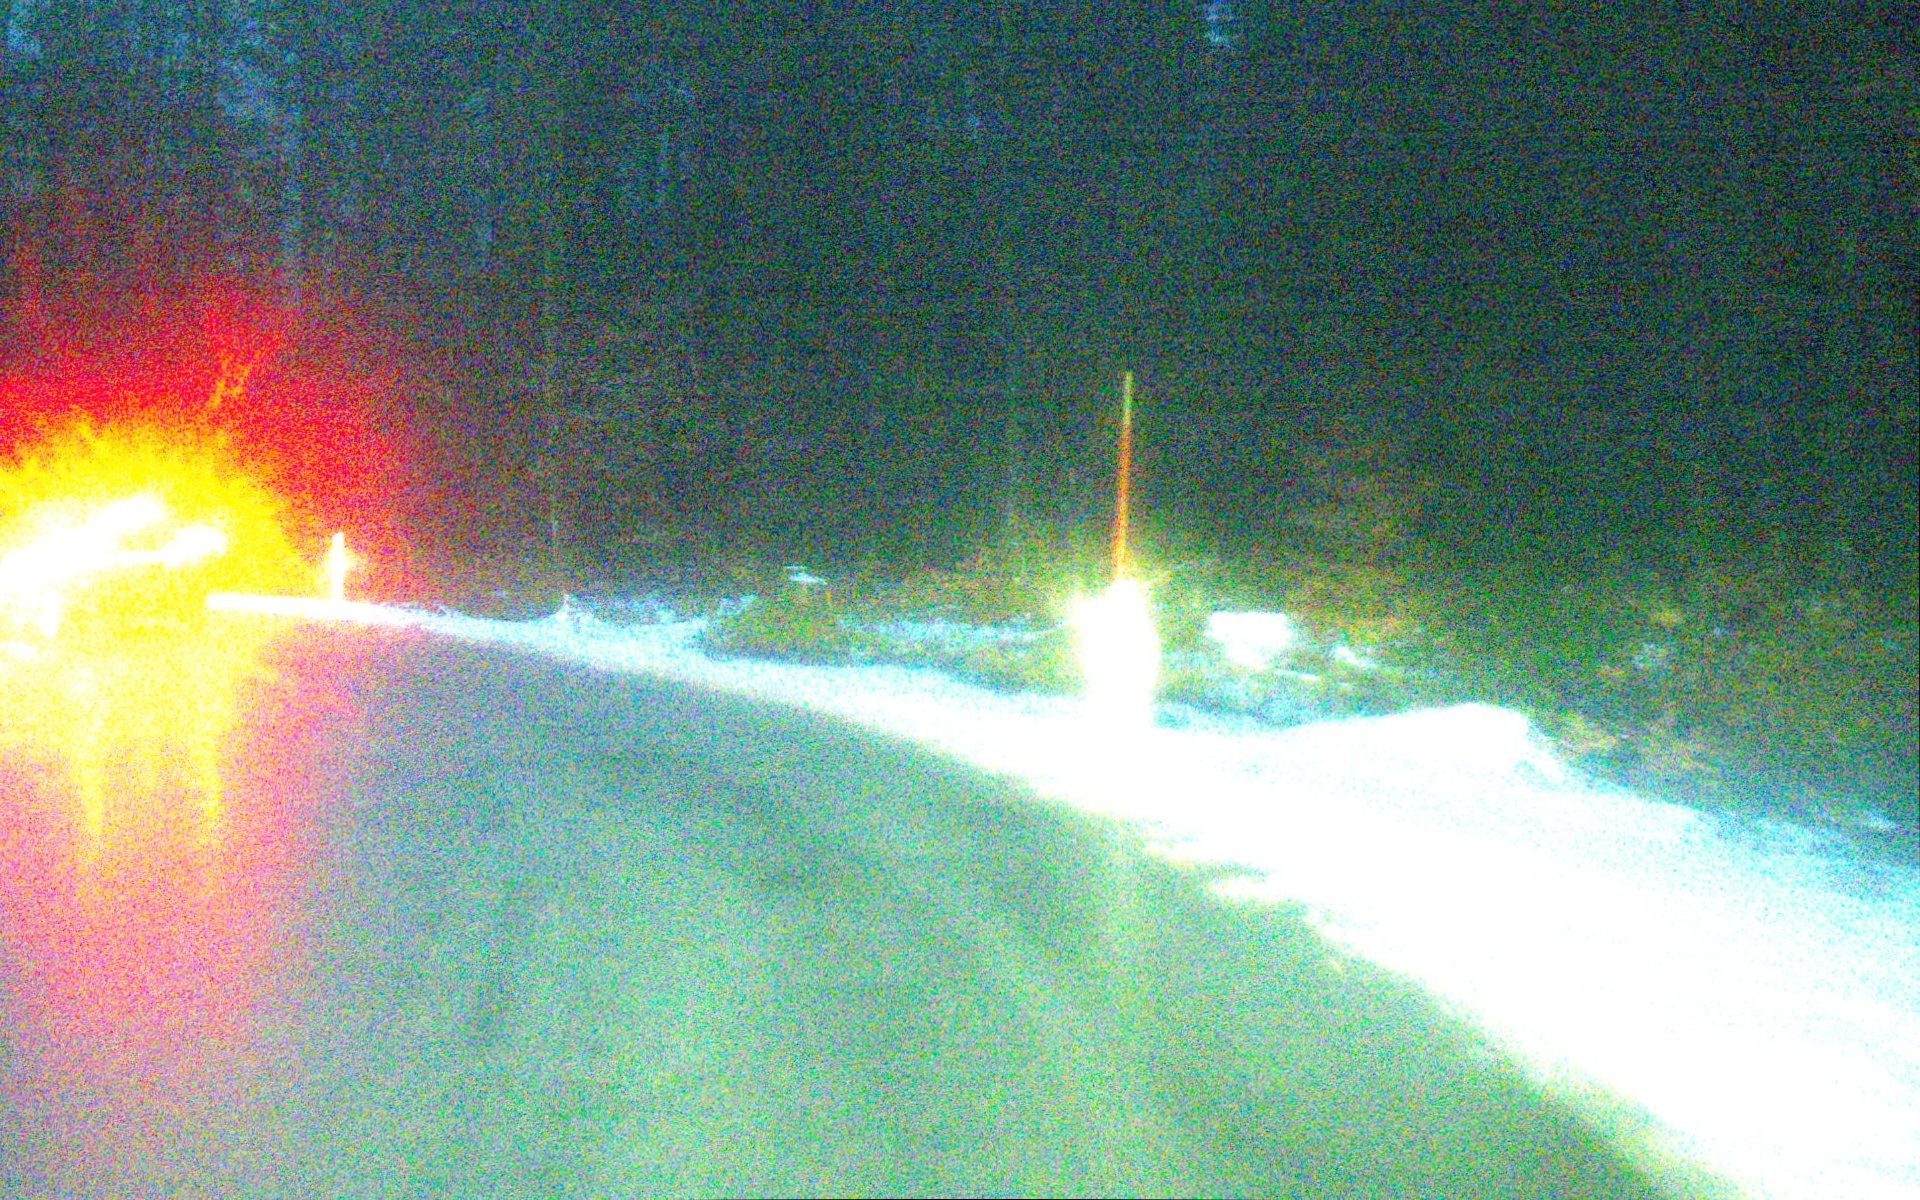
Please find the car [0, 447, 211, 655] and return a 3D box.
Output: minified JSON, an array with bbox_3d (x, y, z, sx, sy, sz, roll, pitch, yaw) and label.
[{"bbox_3d":[-9.631,-0.563,38.143,1.993,2.044,4.001,-5,3,-19],"label":"car"}]
